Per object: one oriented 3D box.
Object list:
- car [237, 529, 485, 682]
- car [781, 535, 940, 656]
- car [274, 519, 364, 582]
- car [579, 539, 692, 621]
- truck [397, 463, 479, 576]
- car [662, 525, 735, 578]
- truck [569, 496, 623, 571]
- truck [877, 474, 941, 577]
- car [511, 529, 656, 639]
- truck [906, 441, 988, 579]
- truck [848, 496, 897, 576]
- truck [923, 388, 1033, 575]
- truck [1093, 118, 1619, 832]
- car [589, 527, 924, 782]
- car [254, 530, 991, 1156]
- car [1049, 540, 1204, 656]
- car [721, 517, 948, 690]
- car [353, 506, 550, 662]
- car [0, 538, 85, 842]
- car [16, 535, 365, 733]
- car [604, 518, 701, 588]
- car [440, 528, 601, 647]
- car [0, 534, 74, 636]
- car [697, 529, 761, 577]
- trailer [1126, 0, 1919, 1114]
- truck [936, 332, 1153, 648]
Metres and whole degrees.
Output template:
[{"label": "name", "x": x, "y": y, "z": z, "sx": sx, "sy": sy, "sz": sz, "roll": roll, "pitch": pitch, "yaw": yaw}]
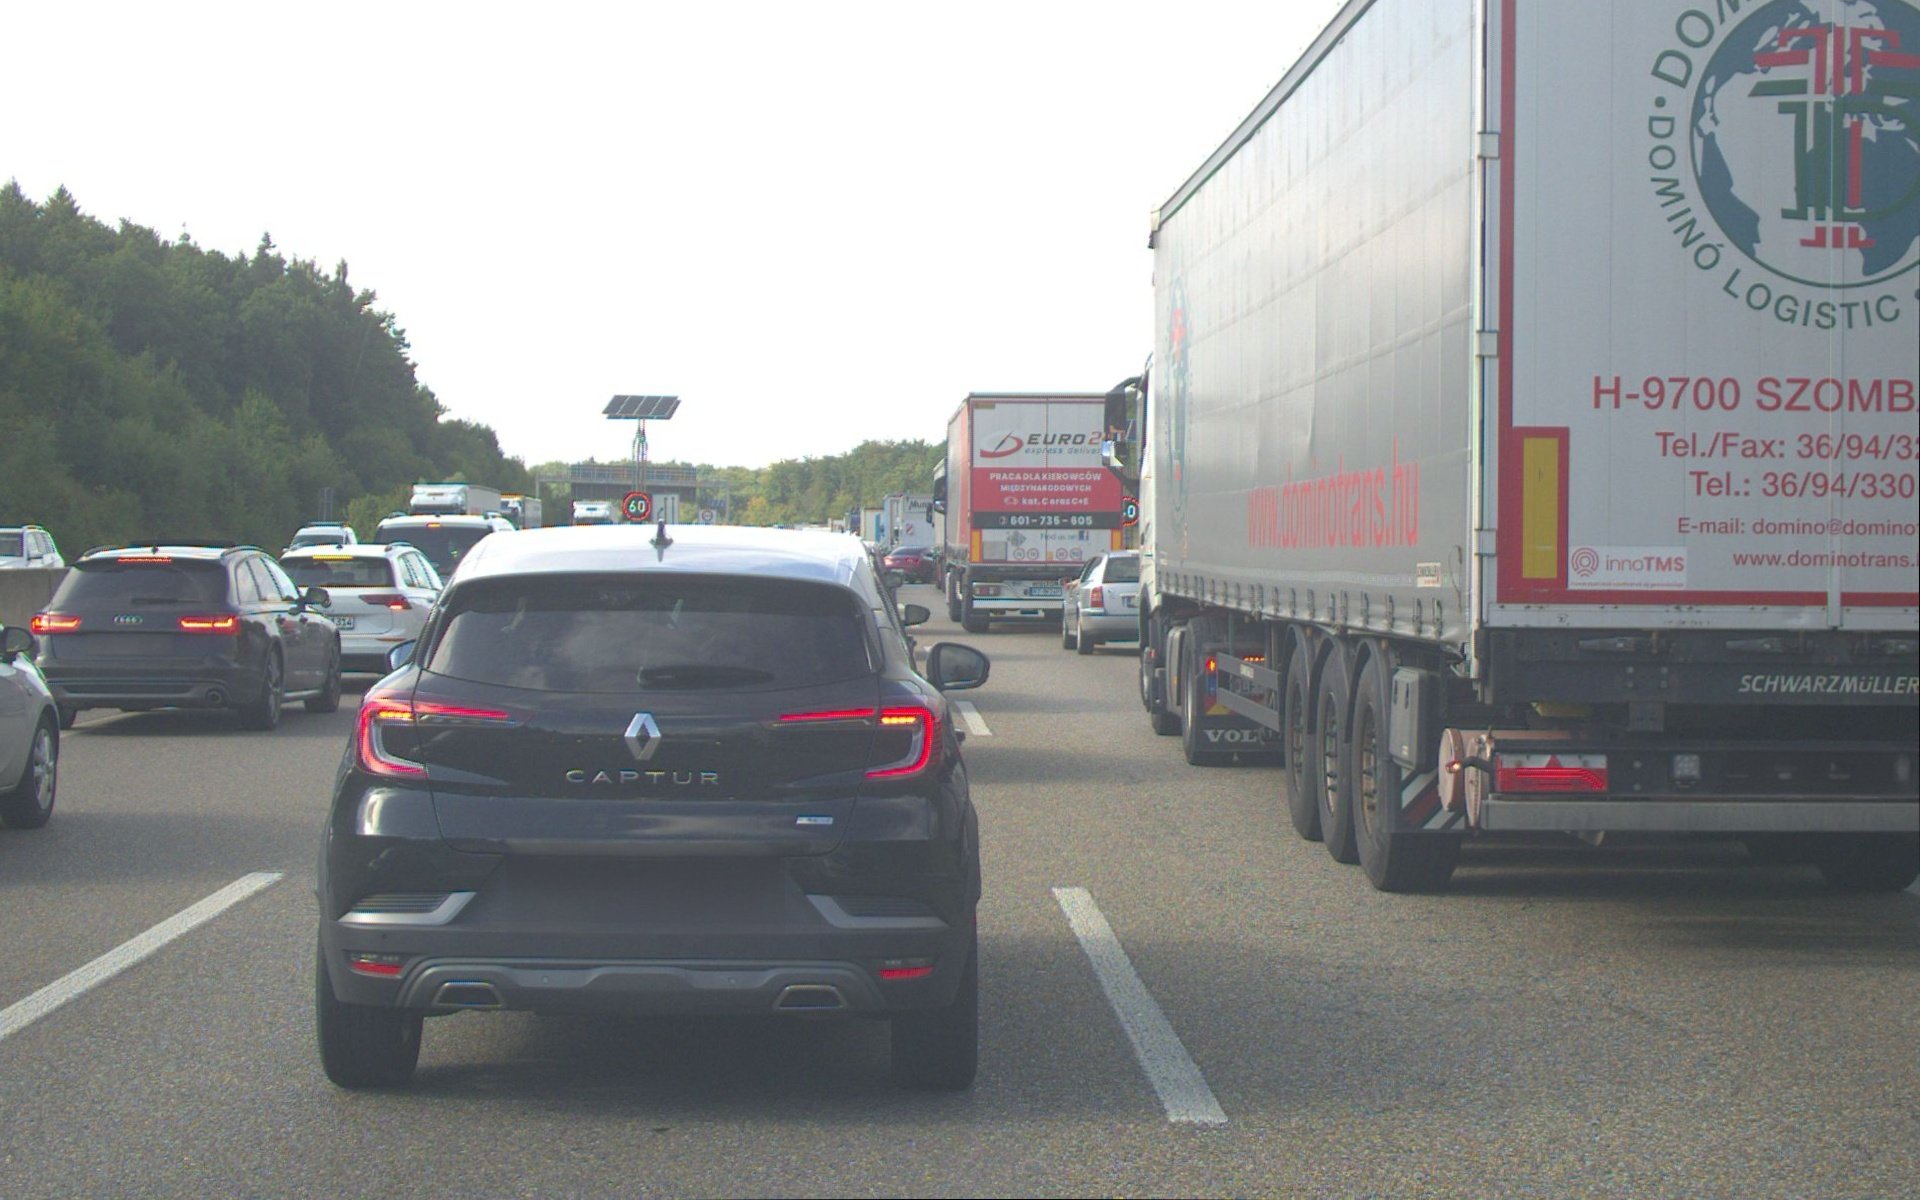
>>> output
[{"label": "car", "x": -6.075, "y": 0.033, "z": 35.286, "sx": 1.804, "sy": 1.456, "sz": 4.309, "roll": 1, "pitch": 1, "yaw": 0}, {"label": "car", "x": -1.301, "y": -0.076, "z": 45.746, "sx": 1.993, "sy": 1.509, "sz": 4.000, "roll": 1, "pitch": 1, "yaw": -1}, {"label": "car", "x": -18.123, "y": -1.415, "z": 97.395, "sx": 1.852, "sy": 1.706, "sz": 4.324, "roll": 1, "pitch": 1, "yaw": -2}, {"label": "car", "x": -6.678, "y": -0.424, "z": 71.113, "sx": 1.993, "sy": 1.607, "sz": 4.000, "roll": 1, "pitch": 1, "yaw": -1}, {"label": "truck", "x": -25.050, "y": -3.818, "z": 165.210, "sx": 3.039, "sy": 5.235, "sz": 6.884, "roll": 1, "pitch": 0, "yaw": -2}, {"label": "car", "x": -8.064, "y": -1.508, "z": 106.312, "sx": 1.993, "sy": 1.607, "sz": 4.000, "roll": 1, "pitch": 1, "yaw": -1}, {"label": "truck", "x": -25.113, "y": -4.569, "z": 237.468, "sx": 3.088, "sy": 5.083, "sz": 7.142, "roll": 1, "pitch": 0, "yaw": -2}, {"label": "truck", "x": -2.627, "y": -3.811, "z": 178.936, "sx": 3.166, "sy": 5.142, "sz": 12.738, "roll": 1, "pitch": 1, "yaw": -1}, {"label": "car", "x": -6.159, "y": -0.275, "z": 56.645, "sx": 1.993, "sy": 1.716, "sz": 4.000, "roll": 1, "pitch": 1, "yaw": -1}, {"label": "truck", "x": -0.473, "y": -3.686, "z": 144.193, "sx": 3.166, "sy": 5.486, "sz": 12.737, "roll": 1, "pitch": 1, "yaw": 1}, {"label": "truck", "x": -6.164, "y": -4.495, "z": 243.589, "sx": 3.166, "sy": 5.486, "sz": 12.738, "roll": 1, "pitch": 1, "yaw": -1}, {"label": "truck", "x": 0.455, "y": -3.565, "z": 107.961, "sx": 3.166, "sy": 5.486, "sz": 12.738, "roll": 1, "pitch": 1, "yaw": -1}, {"label": "truck", "x": 2.716, "y": -0.870, "z": 25.549, "sx": 2.997, "sy": 4.651, "sz": 5.940, "roll": 1, "pitch": 1, "yaw": -2}, {"label": "car", "x": -1.259, "y": 0.310, "z": 22.699, "sx": 1.993, "sy": 1.509, "sz": 4.000, "roll": 1, "pitch": 1, "yaw": -1}, {"label": "car", "x": -0.826, "y": 0.575, "z": 10.565, "sx": 1.804, "sy": 1.547, "sz": 4.000, "roll": 0, "pitch": 1, "yaw": 1}, {"label": "car", "x": 2.286, "y": -0.042, "z": 48.065, "sx": 1.804, "sy": 1.527, "sz": 3.926, "roll": 1, "pitch": 1, "yaw": -2}, {"label": "car", "x": -1.152, "y": 0.009, "z": 32.645, "sx": 1.993, "sy": 1.509, "sz": 4.000, "roll": 1, "pitch": 1, "yaw": -1}, {"label": "car", "x": -6.172, "y": -0.213, "z": 42.176, "sx": 1.911, "sy": 1.783, "sz": 4.418, "roll": 1, "pitch": 1, "yaw": -2}, {"label": "car", "x": -5.501, "y": 0.446, "z": 16.339, "sx": 1.747, "sy": 1.460, "sz": 4.041, "roll": 0, "pitch": 1, "yaw": -1}, {"label": "car", "x": -6.149, "y": 0.209, "z": 28.012, "sx": 1.843, "sy": 1.451, "sz": 4.748, "roll": 1, "pitch": 1, "yaw": -1}, {"label": "car", "x": -7.285, "y": -1.124, "z": 81.666, "sx": 1.993, "sy": 1.607, "sz": 4.000, "roll": 1, "pitch": 1, "yaw": -1}, {"label": "car", "x": -6.385, "y": -0.197, "z": 50.315, "sx": 1.855, "sy": 1.635, "sz": 3.926, "roll": 1, "pitch": 1, "yaw": 0}, {"label": "car", "x": -17.861, "y": -0.315, "z": 63.738, "sx": 1.852, "sy": 1.803, "sz": 4.324, "roll": 1, "pitch": 1, "yaw": -2}, {"label": "car", "x": -7.995, "y": -1.634, "z": 119.049, "sx": 1.993, "sy": 1.607, "sz": 4.000, "roll": 1, "pitch": 1, "yaw": -1}, {"label": "trailer", "x": 2.946, "y": -0.709, "z": 18.282, "sx": 3.002, "sy": 4.645, "sz": 13.291, "roll": 1, "pitch": 1, "yaw": -2}, {"label": "truck", "x": 1.319, "y": -1.835, "z": 61.754, "sx": 3.365, "sy": 5.027, "sz": 12.738, "roll": 1, "pitch": 1, "yaw": -1}]
